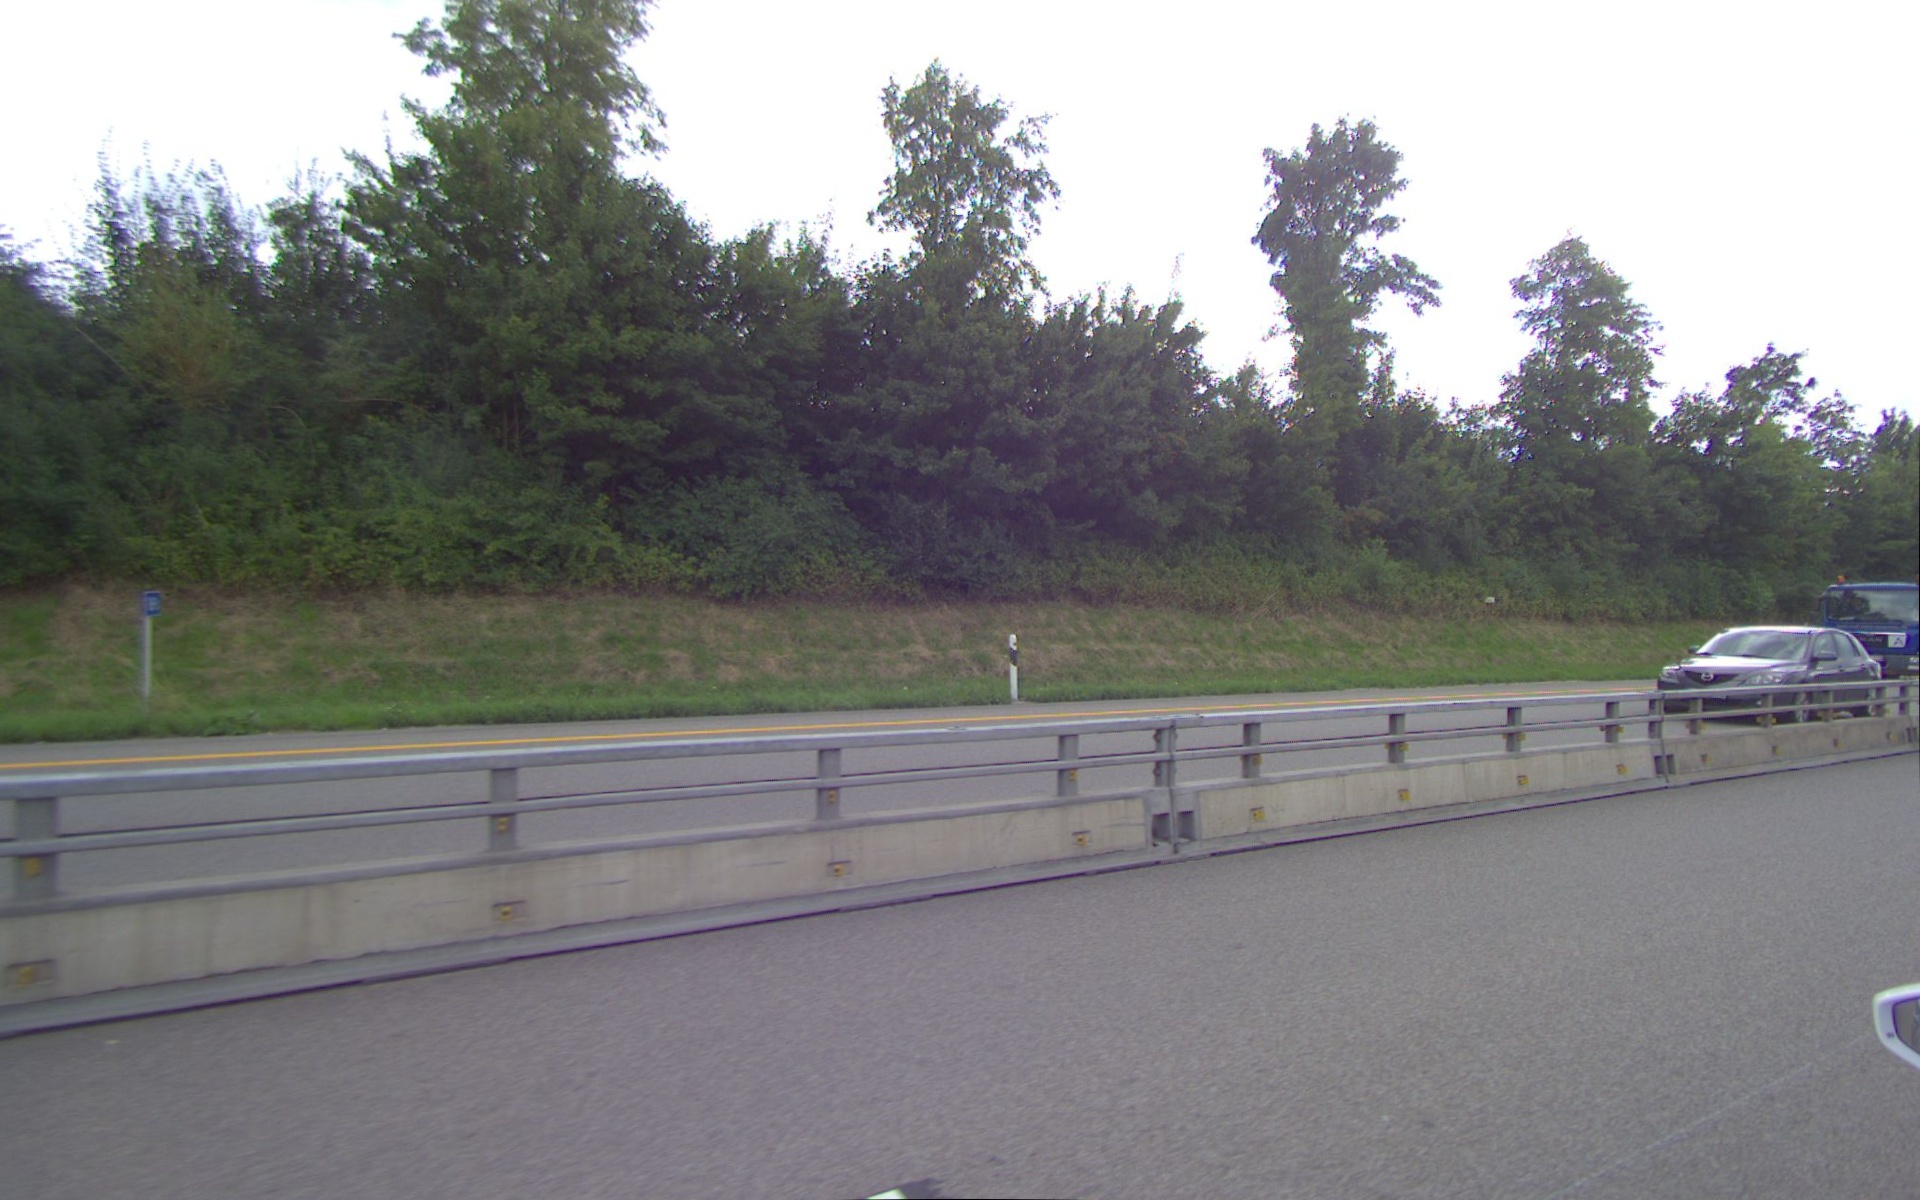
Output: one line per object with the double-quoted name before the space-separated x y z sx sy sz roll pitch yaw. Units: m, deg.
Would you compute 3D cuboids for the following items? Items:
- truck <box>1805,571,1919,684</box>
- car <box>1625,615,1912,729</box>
"truck" 25.830 0.732 27.164 6.589 2.754 2.478 1 0 -30
"car" 12.907 1.059 15.975 4.775 1.527 1.984 1 0 -30
